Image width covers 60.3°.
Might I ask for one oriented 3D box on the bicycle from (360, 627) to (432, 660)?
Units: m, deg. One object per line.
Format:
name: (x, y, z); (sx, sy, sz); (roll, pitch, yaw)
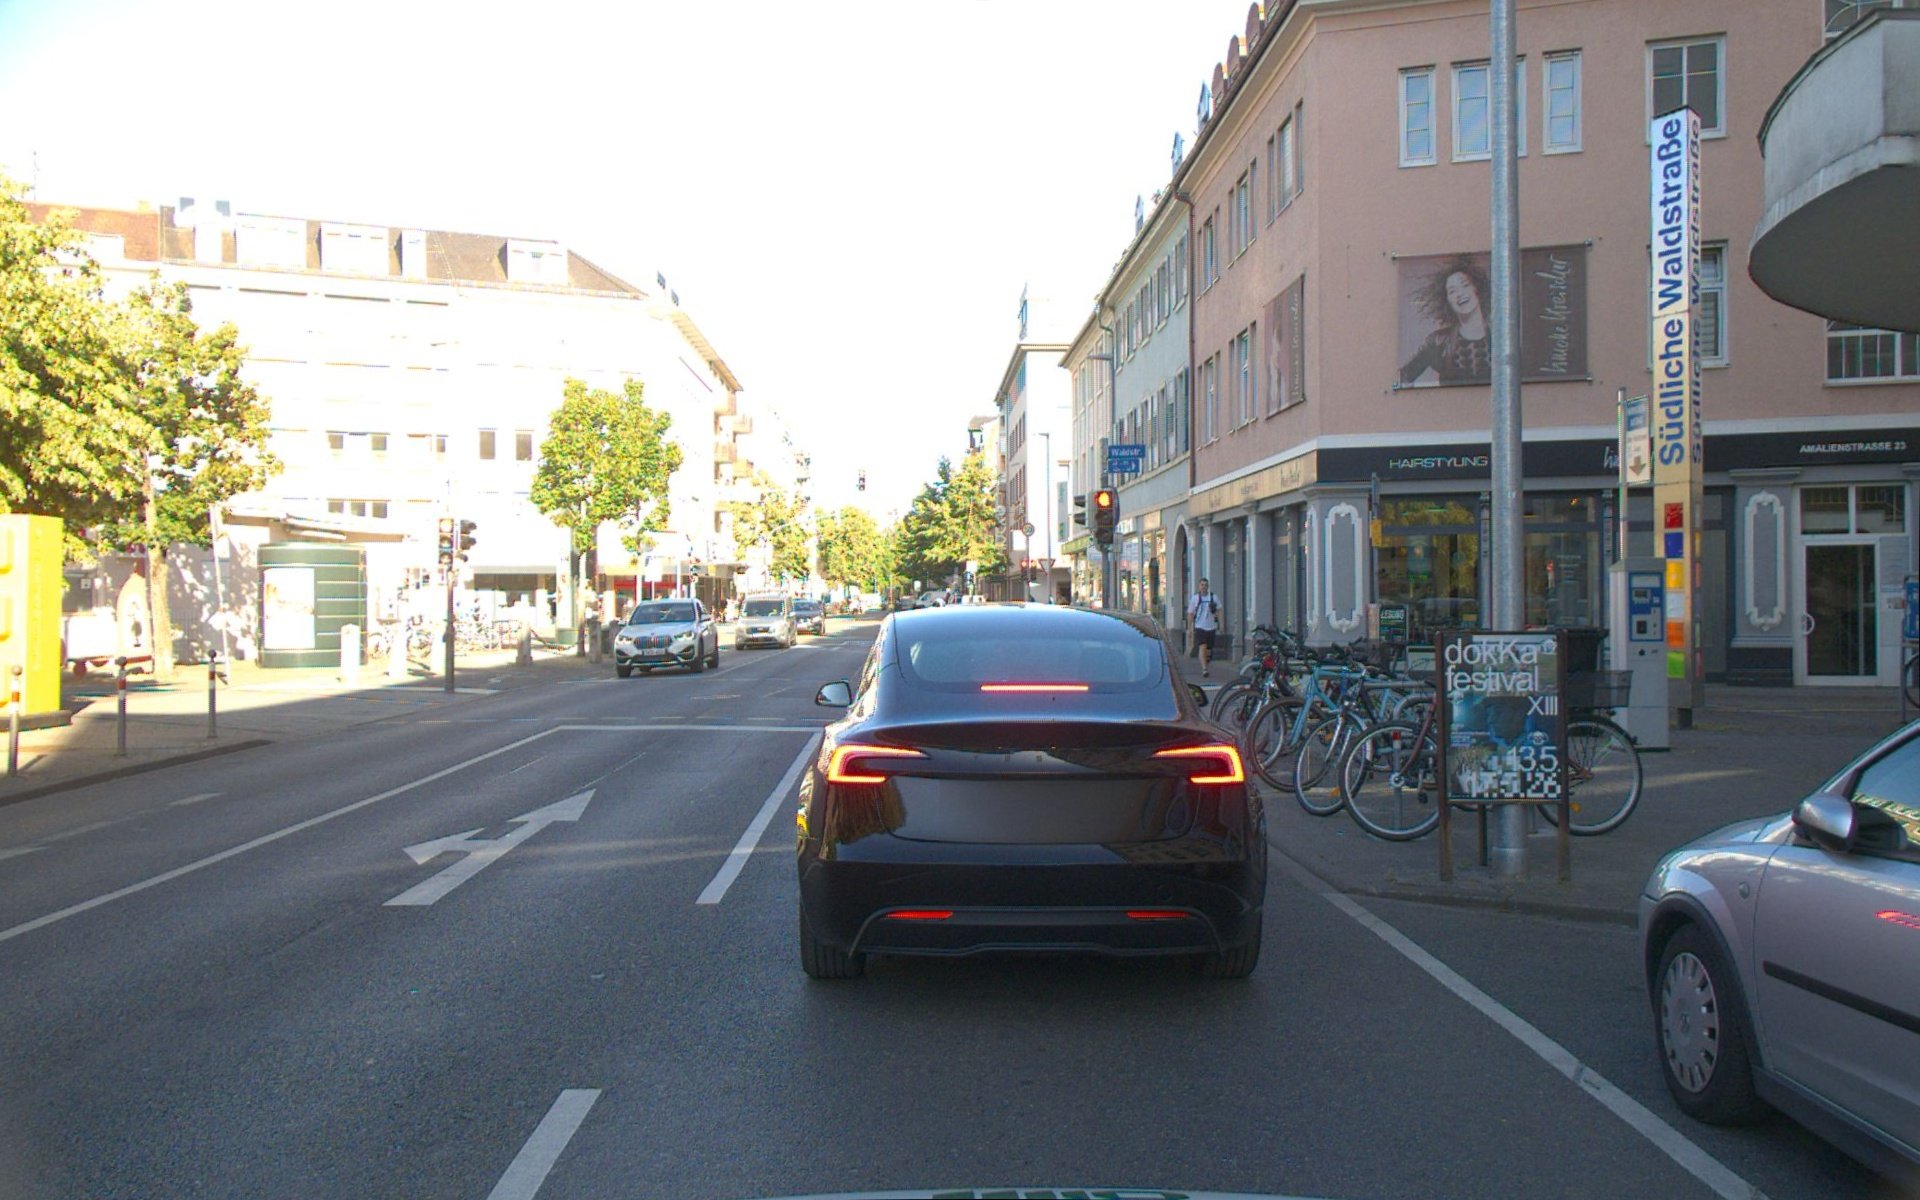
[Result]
bicycle: (-14.447, 1.111, 42.385); (1.612, 0.806, 0.606); (1, 0, -5)

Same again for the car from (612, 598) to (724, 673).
car: (-6.305, 0.742, 36.036); (1.752, 1.485, 3.756); (-2, 0, -1)

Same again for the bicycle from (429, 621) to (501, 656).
bicycle: (-14.077, 1.085, 47.054); (1.826, 0.950, 0.606); (1, 0, -2)

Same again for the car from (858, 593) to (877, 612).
car: (-10.422, 0.286, 186.982); (1.953, 2.049, 3.999); (0, 0, -1)

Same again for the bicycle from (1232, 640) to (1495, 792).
bicycle: (3.026, 0.865, 12.503); (1.834, 1.056, 0.533); (-2, -1, 3)

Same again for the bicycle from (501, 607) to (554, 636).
bicycle: (-20.266, 1.023, 77.575); (2.334, 1.318, 0.509); (1, -1, -27)

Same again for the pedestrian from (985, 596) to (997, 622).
pedestrian: (1.780, 0.525, 95.765); (0.516, 1.447, 0.474); (1, -1, -31)

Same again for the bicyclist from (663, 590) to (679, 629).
bicyclist: (-11.523, 0.388, 65.884); (0.516, 1.530, 0.472); (1, -1, -24)

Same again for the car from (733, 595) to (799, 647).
car: (-6.489, 0.679, 55.701); (1.751, 1.675, 4.401); (0, 0, -1)

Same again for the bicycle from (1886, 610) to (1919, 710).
bicycle: (11.768, 0.682, 18.947); (1.892, 1.137, 0.709); (0, -1, 12)

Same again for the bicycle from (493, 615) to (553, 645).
bicycle: (-14.361, 0.981, 54.384); (1.826, 0.950, 0.606); (0, 0, -2)

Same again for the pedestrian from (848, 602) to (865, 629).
pedestrian: (-6.877, 1.026, 110.002); (0.713, 1.725, 0.837); (0, 0, -45)

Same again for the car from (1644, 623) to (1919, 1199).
car: (2.914, 0.776, 3.487); (1.515, 1.415, 3.476); (0, 0, 0)

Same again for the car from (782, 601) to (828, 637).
car: (-6.696, 0.818, 71.688); (1.680, 1.471, 3.844); (1, 0, -1)

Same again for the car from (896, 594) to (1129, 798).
car: (0.311, 0.687, 13.820); (1.683, 1.450, 3.755); (0, 0, -2)

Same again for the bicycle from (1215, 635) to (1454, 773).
bicycle: (3.066, 0.850, 13.652); (1.833, 1.056, 0.548); (-2, -1, 5)

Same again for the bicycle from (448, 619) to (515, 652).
bicycle: (-14.314, 1.061, 49.524); (1.826, 0.950, 0.606); (1, 0, -2)

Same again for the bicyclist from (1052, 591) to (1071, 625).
bicyclist: (4.370, 0.348, 71.348); (0.659, 1.420, 0.460); (1, -1, -17)

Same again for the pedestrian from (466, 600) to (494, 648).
pedestrian: (-20.593, 1.035, 70.949); (1.041, 2.049, 1.049); (1, -1, -20)

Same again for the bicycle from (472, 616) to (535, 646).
bicycle: (-14.326, 0.971, 51.936); (1.826, 0.950, 0.606); (0, 0, -2)

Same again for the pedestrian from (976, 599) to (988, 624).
pedestrian: (1.264, 0.643, 95.243); (0.516, 1.447, 0.474); (1, -1, -31)

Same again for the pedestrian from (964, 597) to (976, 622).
pedestrian: (0.585, 0.534, 95.767); (0.467, 1.442, 0.516); (1, -1, -32)

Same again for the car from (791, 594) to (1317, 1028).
car: (0.296, 0.723, 7.614); (1.785, 1.467, 3.999); (0, 0, -1)

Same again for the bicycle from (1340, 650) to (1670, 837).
bicycle: (3.274, 0.866, 10.014); (1.833, 1.056, 0.353); (-2, -1, 6)

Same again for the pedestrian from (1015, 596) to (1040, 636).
pedestrian: (2.820, 0.679, 69.389); (0.742, 1.660, 0.951); (1, -1, -18)

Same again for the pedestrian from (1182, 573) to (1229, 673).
pedestrian: (4.505, 0.412, 30.450); (0.735, 1.796, 0.837); (-2, -1, 3)

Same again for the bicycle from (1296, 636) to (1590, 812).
bicycle: (3.242, 0.829, 11.183); (1.834, 1.106, 0.414); (-2, -1, 3)

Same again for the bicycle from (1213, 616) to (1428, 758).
bicycle: (3.201, 0.768, 14.775); (1.789, 1.189, 0.506); (-2, -1, 5)

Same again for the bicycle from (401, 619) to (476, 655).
bicycle: (-14.176, 1.015, 44.970); (1.826, 0.950, 0.606); (0, 0, -2)

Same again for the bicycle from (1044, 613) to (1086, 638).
bicycle: (4.516, 1.101, 71.384); (1.756, 1.024, 0.469); (1, -1, -17)

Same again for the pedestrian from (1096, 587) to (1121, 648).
pedestrian: (4.393, 0.512, 48.970); (0.692, 1.773, 0.540); (0, 0, -1)
